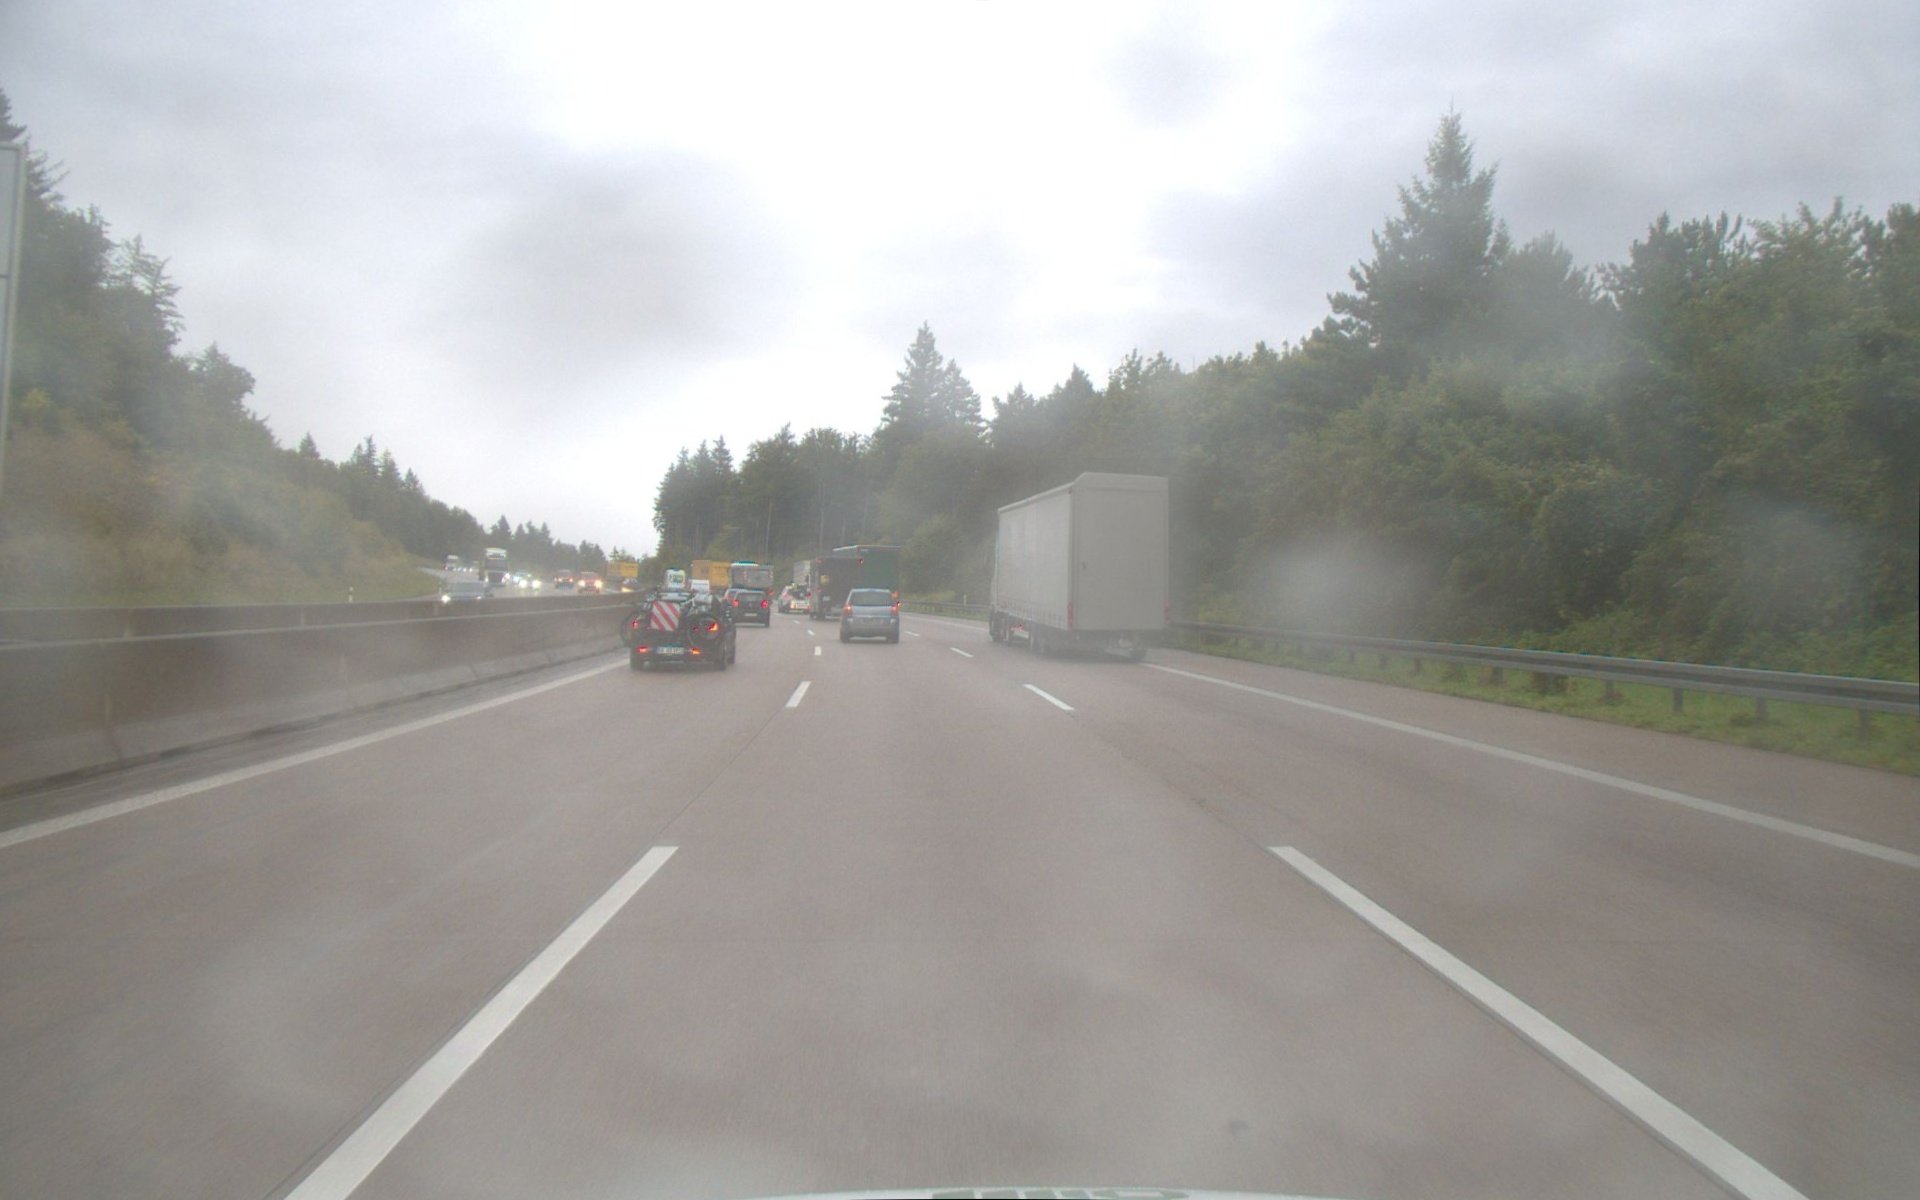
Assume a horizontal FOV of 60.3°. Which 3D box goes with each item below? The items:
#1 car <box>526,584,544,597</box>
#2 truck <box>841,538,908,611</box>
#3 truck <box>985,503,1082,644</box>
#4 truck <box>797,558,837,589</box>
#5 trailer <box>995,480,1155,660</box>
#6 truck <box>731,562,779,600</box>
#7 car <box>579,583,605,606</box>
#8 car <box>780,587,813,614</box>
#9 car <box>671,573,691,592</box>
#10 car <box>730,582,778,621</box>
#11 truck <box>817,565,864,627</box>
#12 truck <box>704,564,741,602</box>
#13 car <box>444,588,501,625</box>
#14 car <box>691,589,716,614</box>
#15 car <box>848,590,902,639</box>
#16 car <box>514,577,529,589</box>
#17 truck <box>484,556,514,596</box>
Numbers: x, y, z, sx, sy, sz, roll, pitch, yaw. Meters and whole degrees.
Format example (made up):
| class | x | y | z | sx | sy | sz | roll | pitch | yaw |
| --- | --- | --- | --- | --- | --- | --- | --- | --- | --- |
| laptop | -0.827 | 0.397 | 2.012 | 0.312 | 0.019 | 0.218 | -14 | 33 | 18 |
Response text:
| class | x | y | z | sx | sy | sz | roll | pitch | yaw |
| --- | --- | --- | --- | --- | --- | --- | --- | --- | --- |
| car | -44.135 | -0.998 | 171.705 | 1.593 | 1.417 | 3.990 | 0 | 0 | -11 |
| truck | -5.331 | -1.540 | 101.417 | 3.305 | 4.203 | 10.421 | 0 | 0 | -7 |
| truck | 2.201 | -0.796 | 51.044 | 2.372 | 4.139 | 4.974 | 0 | 0 | -5 |
| truck | -11.672 | -2.150 | 134.166 | 2.918 | 2.350 | 6.657 | 2 | 0 | -7 |
| trailer | 2.794 | -0.745 | 44.298 | 2.373 | 4.139 | 12.042 | 0 | 0 | -5 |
| truck | -16.862 | -1.601 | 135.717 | 3.030 | 2.956 | 7.876 | 0 | 1 | -13 |
| car | -35.145 | -0.512 | 158.089 | 1.956 | 2.119 | 5.322 | 0 | 0 | -8 |
| car | -9.760 | 0.035 | 98.880 | 1.845 | 1.498 | 3.996 | 2 | 0 | -5 |
| car | -30.408 | -1.905 | 180.414 | 1.959 | 2.095 | 3.987 | 0 | 0 | -13 |
| car | -8.434 | 0.036 | 68.011 | 1.650 | 1.488 | 3.682 | 2 | 0 | -3 |
| truck | -6.133 | -0.277 | 84.163 | 2.225 | 2.937 | 7.895 | 1 | 1 | -5 |
| truck | -27.474 | -1.962 | 191.189 | 3.675 | 4.283 | 6.796 | 0 | 0 | -13 |
| car | -22.346 | 0.281 | 75.944 | 1.742 | 1.667 | 3.996 | 0 | 0 | -5 |
| car | -21.089 | 0.131 | 135.987 | 1.696 | 2.049 | 3.643 | 0 | 0 | -14 |
| car | -2.565 | 0.403 | 50.452 | 1.522 | 1.375 | 3.682 | 2 | 0 | -2 |
| car | -54.653 | -2.123 | 206.063 | 1.593 | 1.417 | 3.988 | 0 | 0 | -12 |
| truck | -52.377 | -2.705 | 188.097 | 2.696 | 4.359 | 8.292 | 0 | 0 | -11 |
